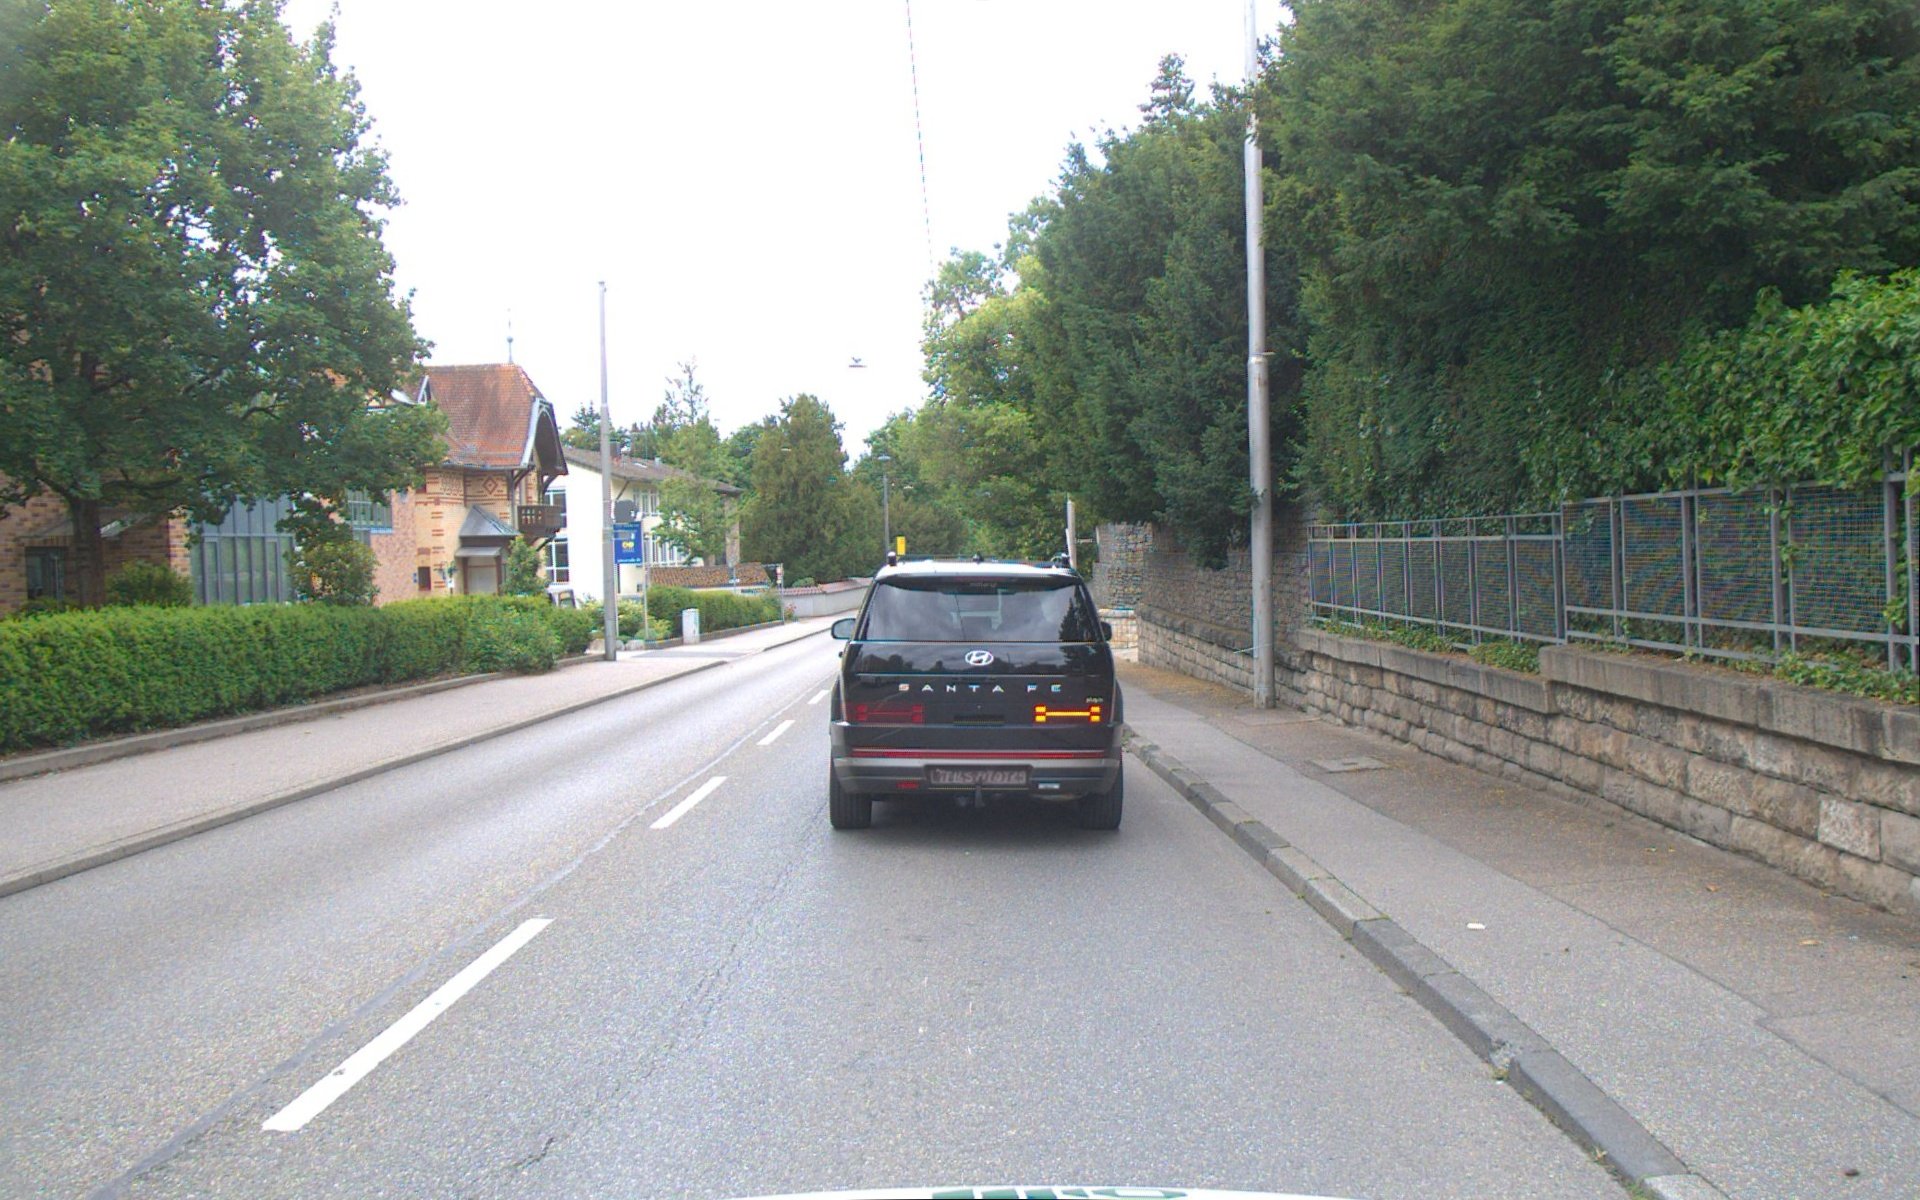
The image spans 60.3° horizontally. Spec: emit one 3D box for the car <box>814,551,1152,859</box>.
[{"bbox_3d":[0.129,0.586,11.616,1.917,1.743,4.223,1,0,0],"label":"car"}]

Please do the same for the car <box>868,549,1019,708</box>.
[{"bbox_3d":[-0.282,0.309,23.672,1.918,1.989,4.223,1,2,-2],"label":"car"}]

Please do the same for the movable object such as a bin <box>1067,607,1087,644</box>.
[{"bbox_3d":[3.013,0.663,42.513,0.435,0.925,0.394,-2,0,9],"label":"movable object such as a bin"}]
